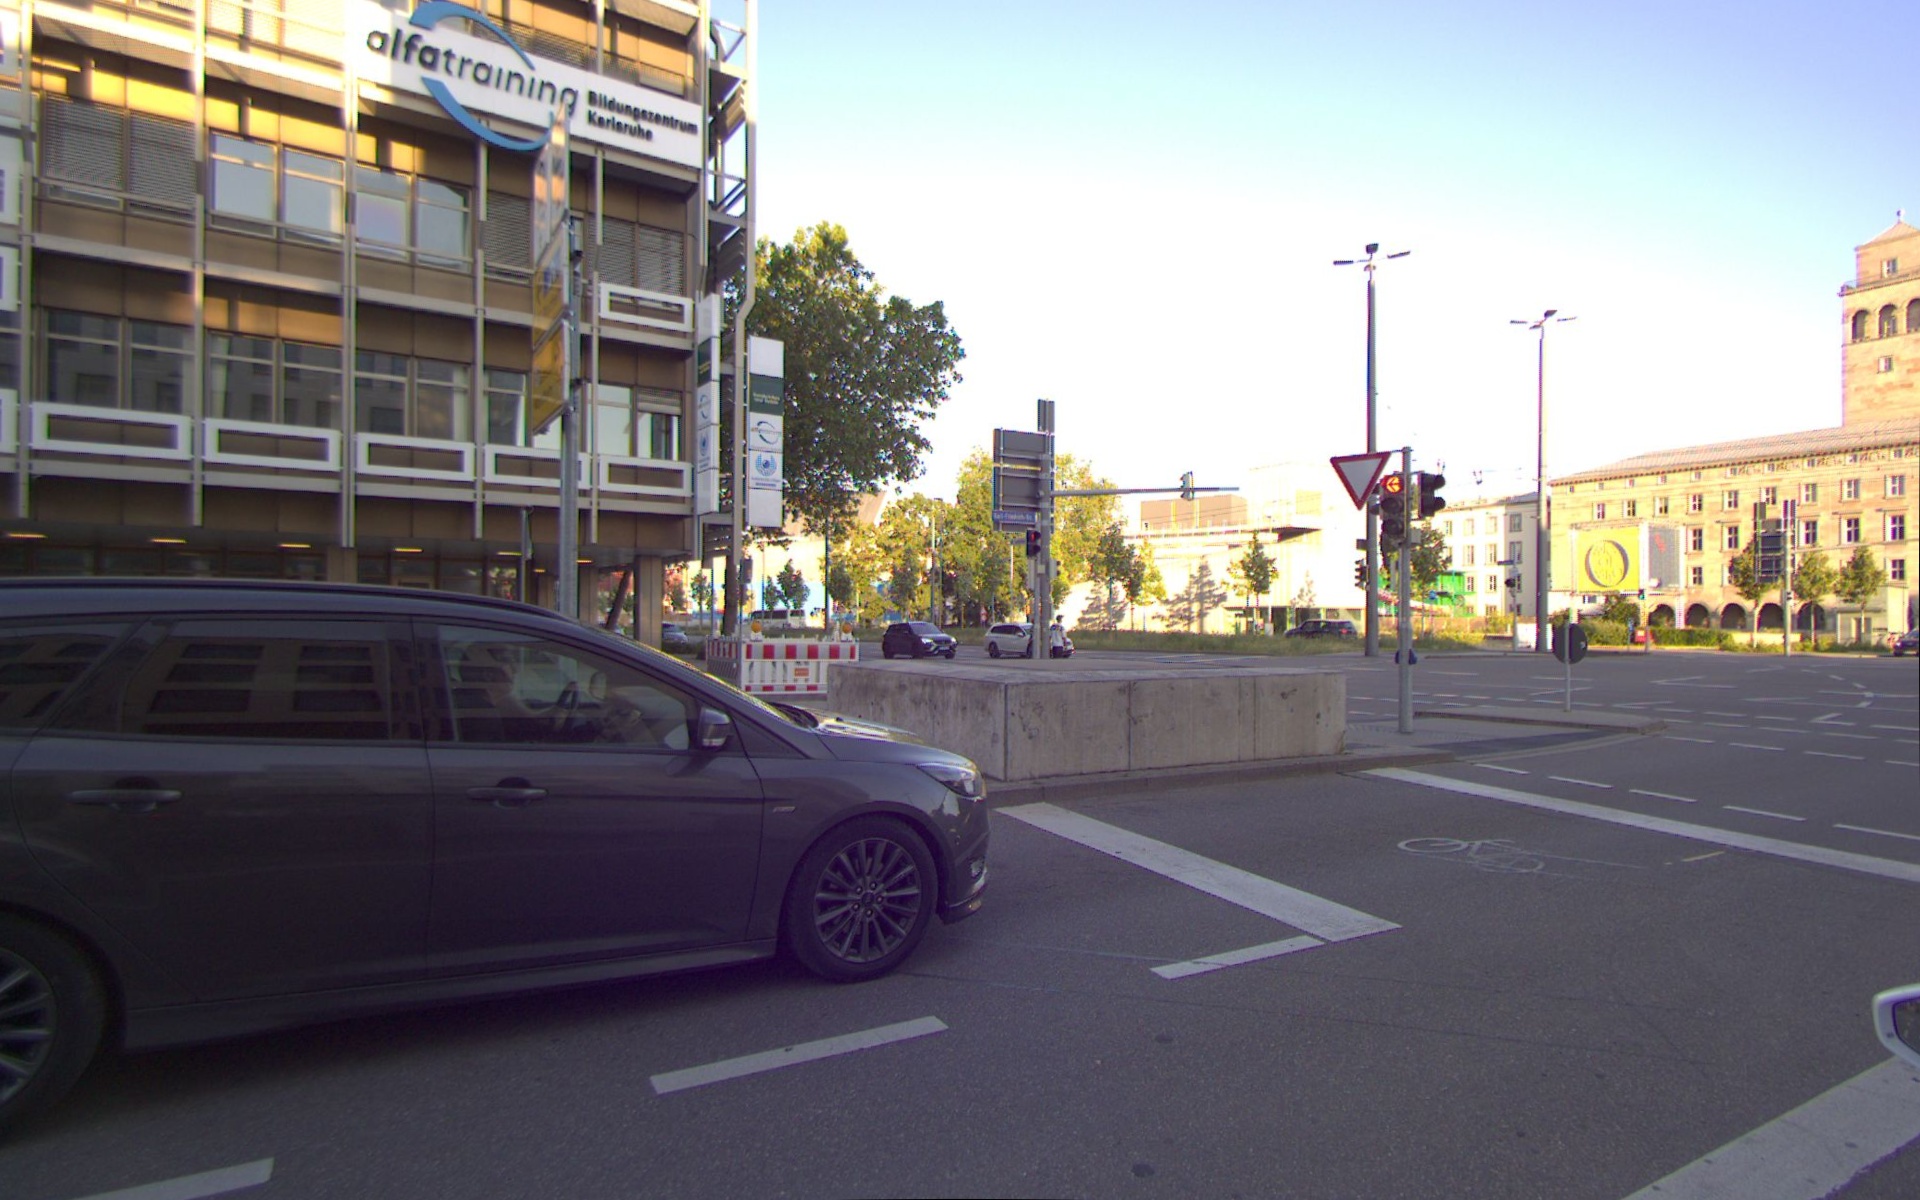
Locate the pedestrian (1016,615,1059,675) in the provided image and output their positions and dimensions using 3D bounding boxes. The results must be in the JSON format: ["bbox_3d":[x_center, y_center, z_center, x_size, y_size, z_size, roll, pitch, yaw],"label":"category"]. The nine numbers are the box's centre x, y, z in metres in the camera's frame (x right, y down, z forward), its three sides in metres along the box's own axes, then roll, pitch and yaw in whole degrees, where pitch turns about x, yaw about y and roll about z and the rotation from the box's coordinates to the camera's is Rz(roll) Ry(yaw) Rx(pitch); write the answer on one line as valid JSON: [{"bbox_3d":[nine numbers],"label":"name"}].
[{"bbox_3d":[2.285,1.317,29.628,0.949,1.744,0.816,1,-1,-34],"label":"pedestrian"}]

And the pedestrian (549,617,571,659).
[{"bbox_3d":[-17.851,1.684,44.839,0.749,1.830,0.715,2,0,-35],"label":"pedestrian"}]

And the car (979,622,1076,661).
[{"bbox_3d":[2.749,1.685,41.977,1.829,1.476,4.555,0,-1,-30],"label":"car"}]

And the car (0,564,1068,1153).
[{"bbox_3d":[-1.841,0.652,3.886,4.330,1.482,1.748,1,1,-31],"label":"car"}]

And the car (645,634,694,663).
[{"bbox_3d":[-17.093,2.810,59.026,1.722,1.605,4.554,0,-1,-30],"label":"car"}]

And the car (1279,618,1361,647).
[{"bbox_3d":[20.355,1.816,56.909,1.728,1.626,4.092,1,-1,-36],"label":"car"}]

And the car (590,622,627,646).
[{"bbox_3d":[-24.520,2.349,70.007,1.722,1.605,3.764,0,-1,-31],"label":"car"}]

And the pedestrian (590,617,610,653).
[{"bbox_3d":[-16.277,1.571,45.436,0.660,1.606,0.715,2,0,-34],"label":"pedestrian"}]

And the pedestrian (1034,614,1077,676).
[{"bbox_3d":[2.733,1.283,28.849,0.949,1.744,0.816,1,-1,-34],"label":"pedestrian"}]

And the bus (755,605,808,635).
[{"bbox_3d":[-23.189,2.566,130.139,2.959,3.818,10.341,1,-1,-34],"label":"bus"}]

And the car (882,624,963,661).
[{"bbox_3d":[-1.649,1.767,43.056,1.829,1.476,3.921,0,-1,-30],"label":"car"}]

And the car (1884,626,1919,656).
[{"bbox_3d":[51.272,2.184,53.633,4.111,1.485,1.813,0,-1,-32],"label":"car"}]
